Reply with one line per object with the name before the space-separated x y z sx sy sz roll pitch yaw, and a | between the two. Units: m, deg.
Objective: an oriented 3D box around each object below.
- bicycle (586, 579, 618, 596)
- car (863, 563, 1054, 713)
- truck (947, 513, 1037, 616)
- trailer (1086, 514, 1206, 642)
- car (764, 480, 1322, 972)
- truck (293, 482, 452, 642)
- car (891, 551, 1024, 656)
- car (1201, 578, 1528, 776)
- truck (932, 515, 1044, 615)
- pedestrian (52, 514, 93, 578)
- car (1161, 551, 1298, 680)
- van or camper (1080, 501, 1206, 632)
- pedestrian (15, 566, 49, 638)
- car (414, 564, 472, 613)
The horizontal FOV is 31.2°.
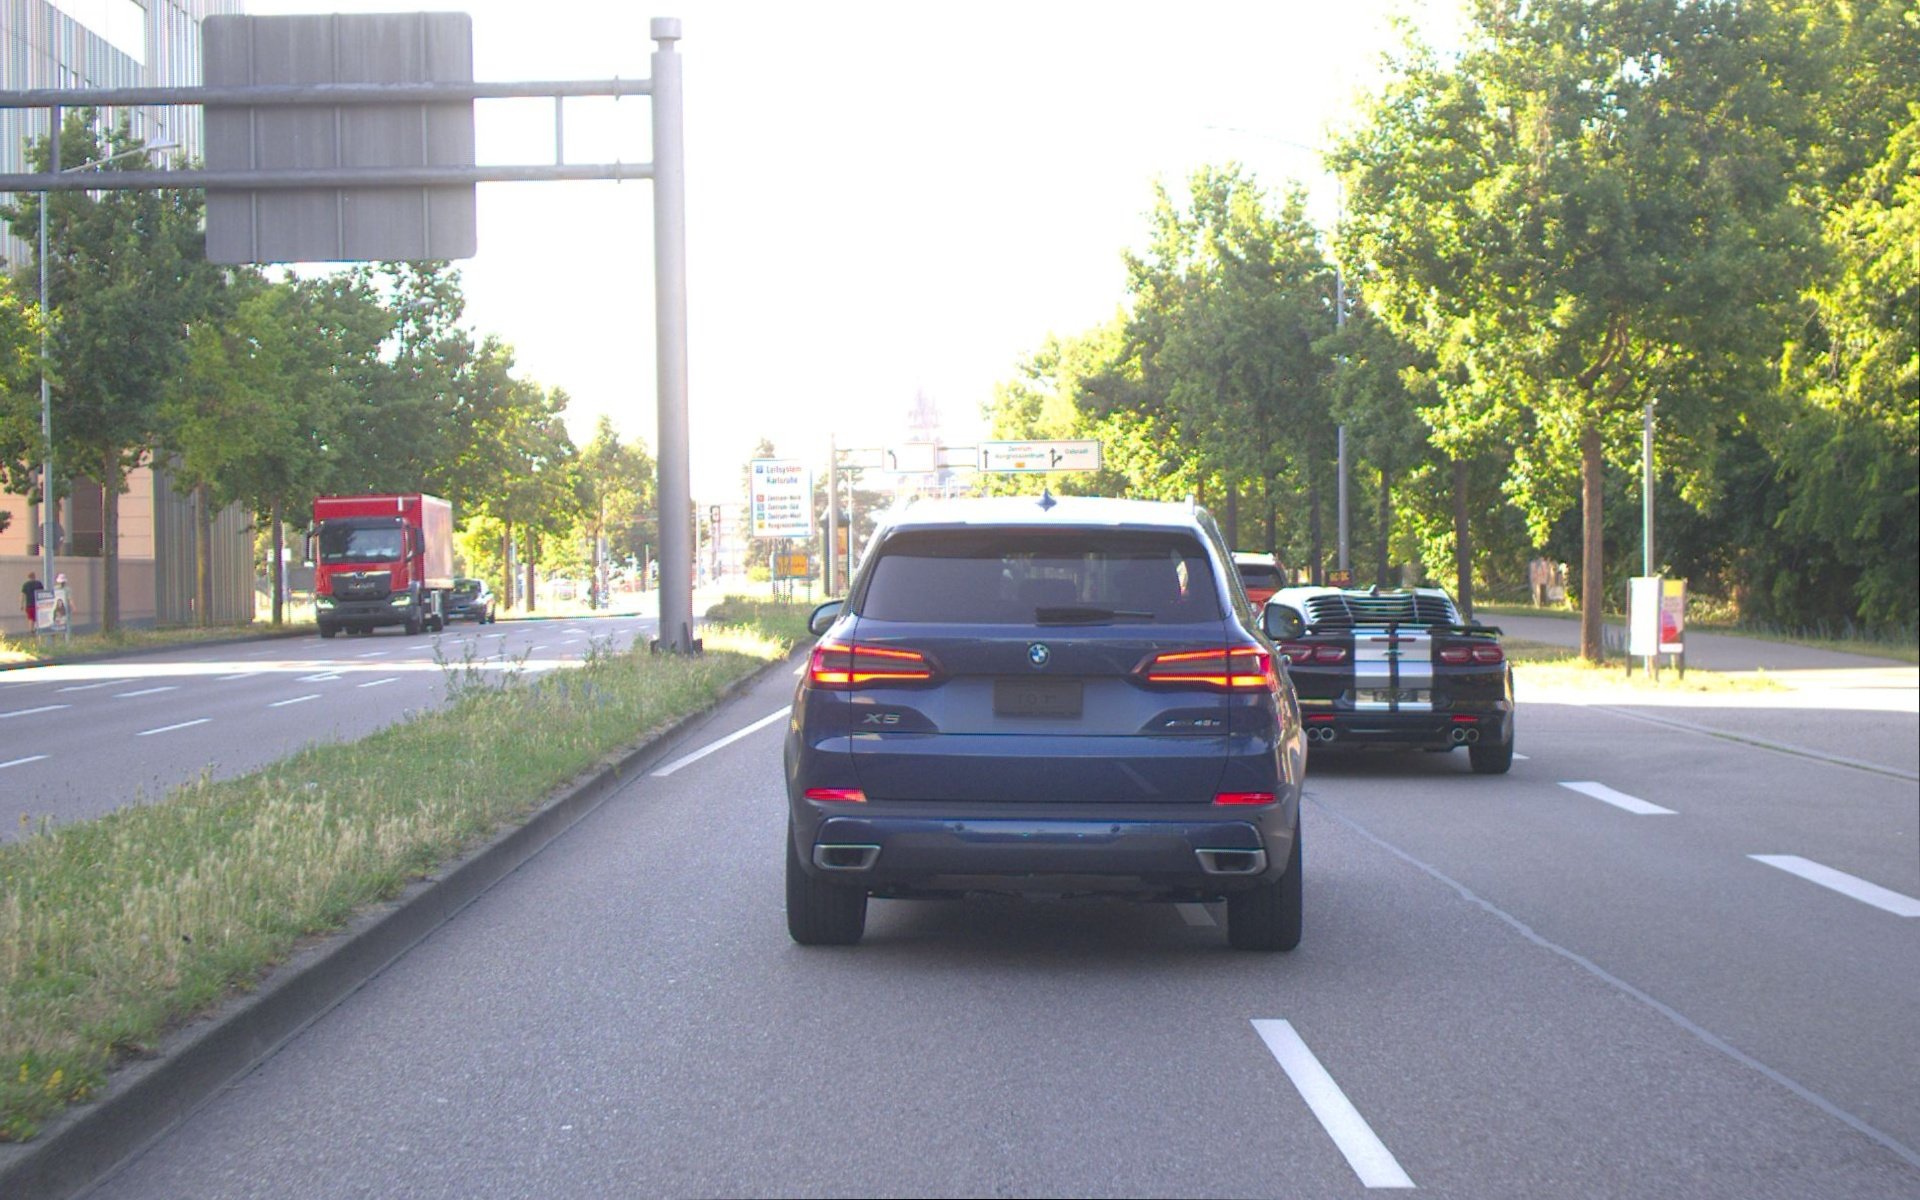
bicycle | -21.768 -0.764 208.951 1.910 1.016 0.504 0 0 15
car | 0.035 0.359 36.274 1.747 1.468 3.819 -1 1 4
truck | 0.820 -0.945 91.602 2.219 2.642 4.774 -1 0 -1
trailer | 3.570 -0.421 66.468 2.090 2.392 3.501 1 0 0
car | 0.308 0.448 14.475 1.955 1.721 4.699 0 0 0
truck | -14.840 -0.977 87.510 2.998 3.798 10.091 -1 1 -4
car | -0.008 0.049 56.739 1.905 1.654 3.999 -1 0 4
car | 2.934 0.513 25.883 1.854 1.333 4.625 0 0 -1
truck | 0.701 -0.935 92.664 2.580 2.549 6.252 -1 1 -3
pedestrian | -22.486 -1.361 87.122 0.776 1.596 0.909 -1 0 1
car | 3.557 0.174 45.861 1.747 1.615 3.819 0 1 3
van or camper | 3.808 -0.707 72.552 2.284 2.620 6.583 0 1 0
pedestrian | -23.750 0.043 88.002 0.632 1.835 0.716 -1 0 1
car | -16.570 -0.382 110.261 1.595 1.507 3.868 -1 1 -5
